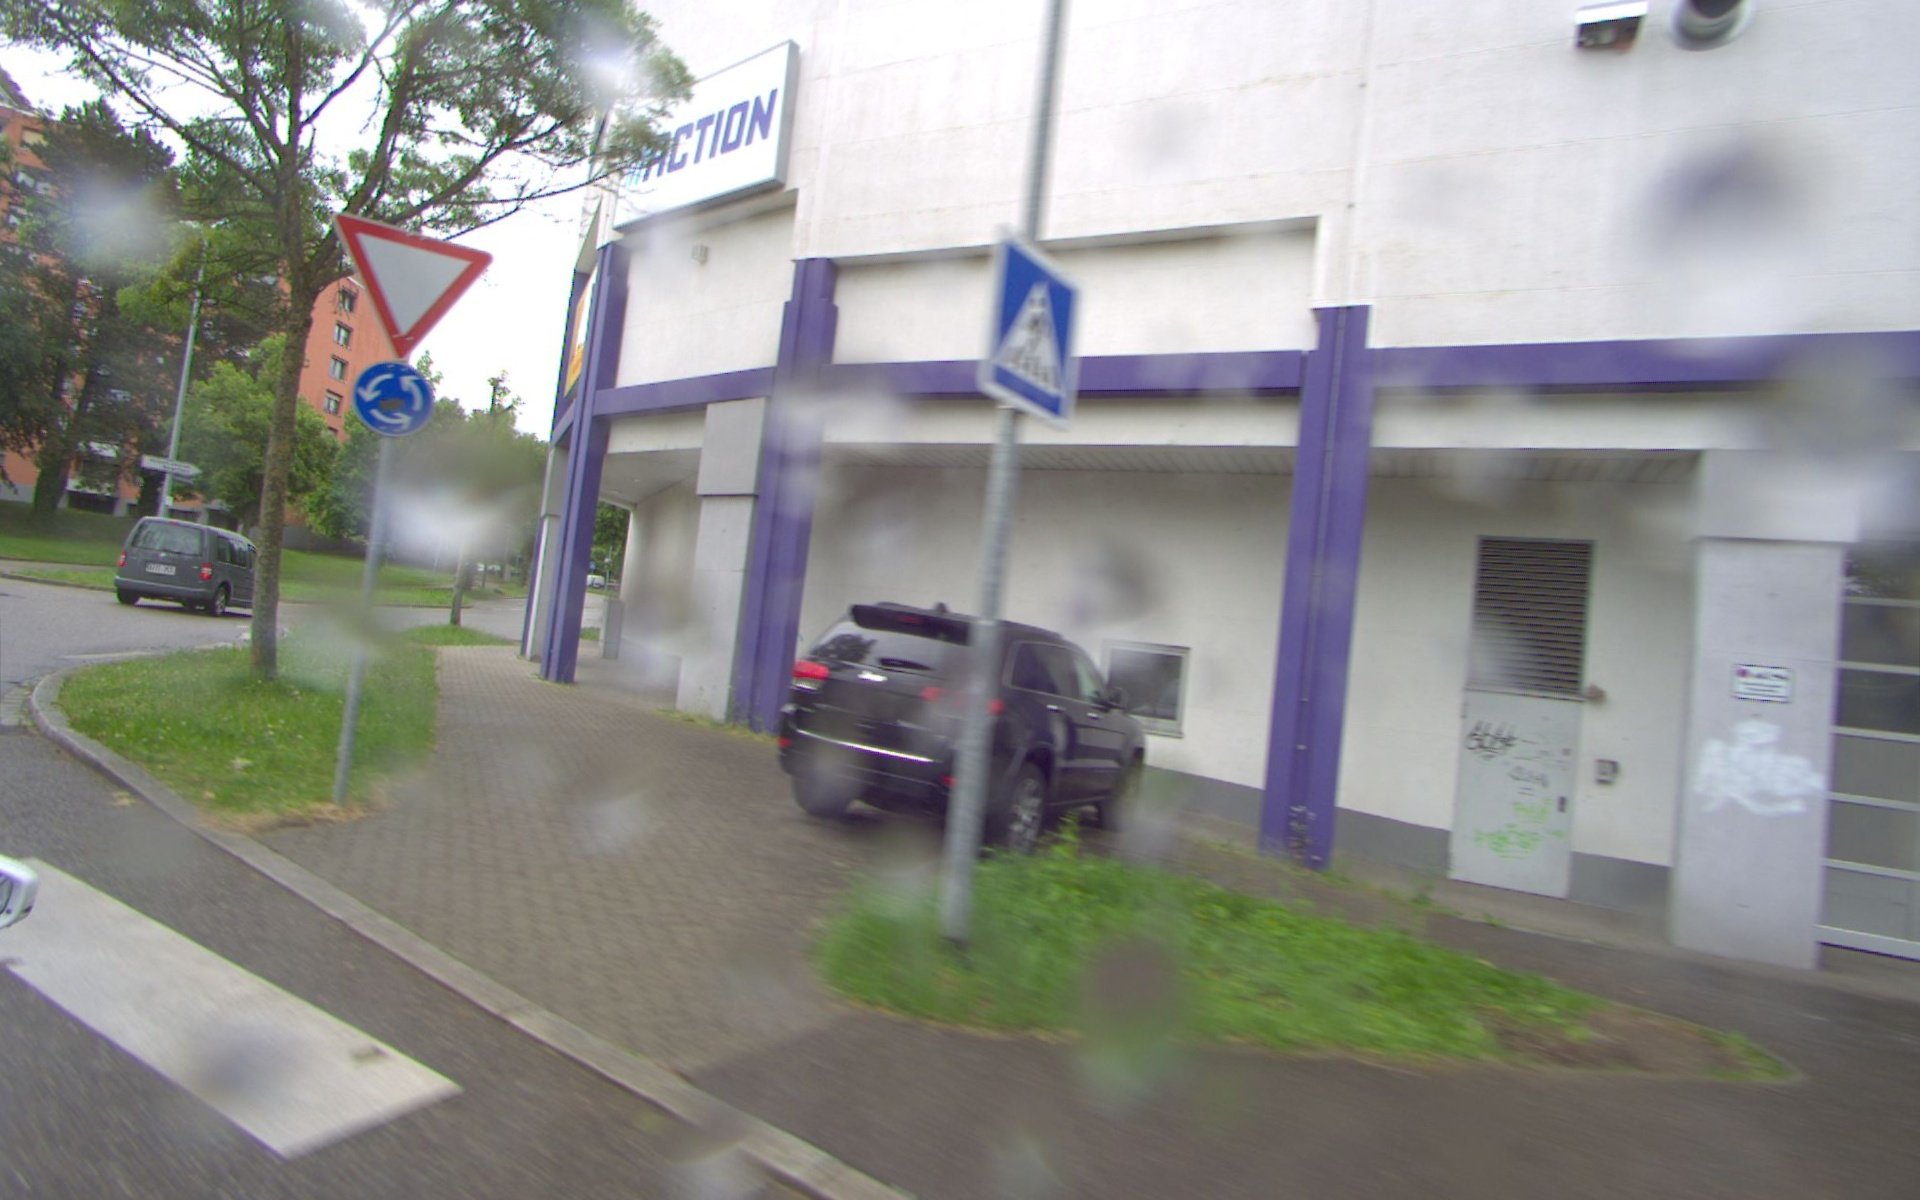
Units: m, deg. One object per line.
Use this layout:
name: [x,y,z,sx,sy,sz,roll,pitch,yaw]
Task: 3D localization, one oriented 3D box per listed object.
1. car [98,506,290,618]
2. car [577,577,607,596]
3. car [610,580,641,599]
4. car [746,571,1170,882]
car: [-16.362,-0.698,21.747,1.899,1.819,3.779,11,-5,-18]
car: [-44.230,-1.636,120.778,1.986,1.894,3.959,9,-4,-39]
car: [-38.171,-1.208,114.879,1.840,1.894,3.819,10,-4,-40]
car: [0.327,1.075,8.764,1.796,1.777,4.397,9,-4,25]
